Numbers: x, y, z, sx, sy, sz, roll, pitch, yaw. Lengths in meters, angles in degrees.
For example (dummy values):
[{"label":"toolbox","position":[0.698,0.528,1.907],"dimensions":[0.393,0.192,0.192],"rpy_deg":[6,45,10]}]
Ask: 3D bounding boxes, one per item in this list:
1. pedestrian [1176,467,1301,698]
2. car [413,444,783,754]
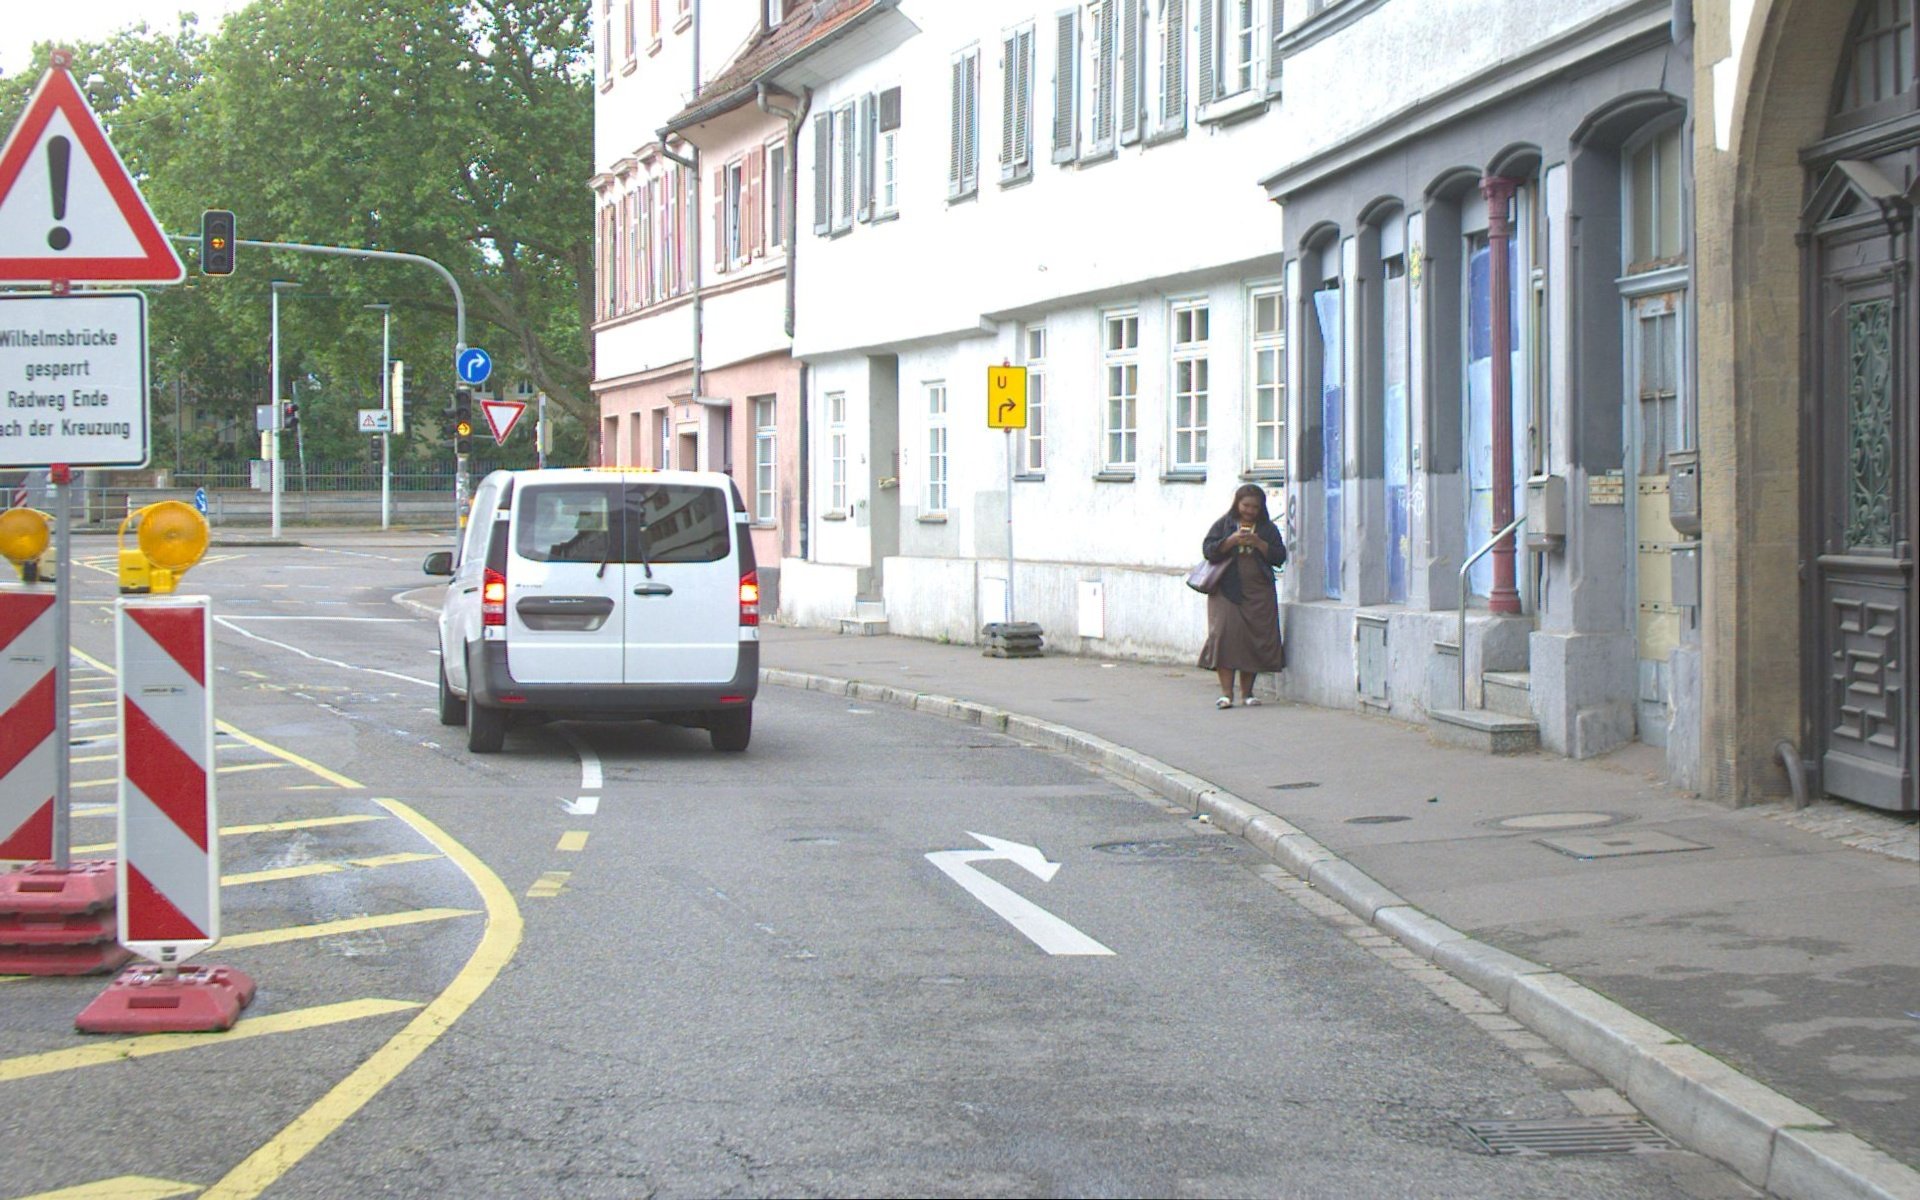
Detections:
[{"label":"pedestrian","position":[2.058,-0.140,25.490],"dimensions":[0.755,1.661,0.809],"rpy_deg":[2,1,-3]},{"label":"car","position":[-2.616,-0.034,23.895],"dimensions":[1.993,1.916,4.250],"rpy_deg":[2,1,-13]}]
